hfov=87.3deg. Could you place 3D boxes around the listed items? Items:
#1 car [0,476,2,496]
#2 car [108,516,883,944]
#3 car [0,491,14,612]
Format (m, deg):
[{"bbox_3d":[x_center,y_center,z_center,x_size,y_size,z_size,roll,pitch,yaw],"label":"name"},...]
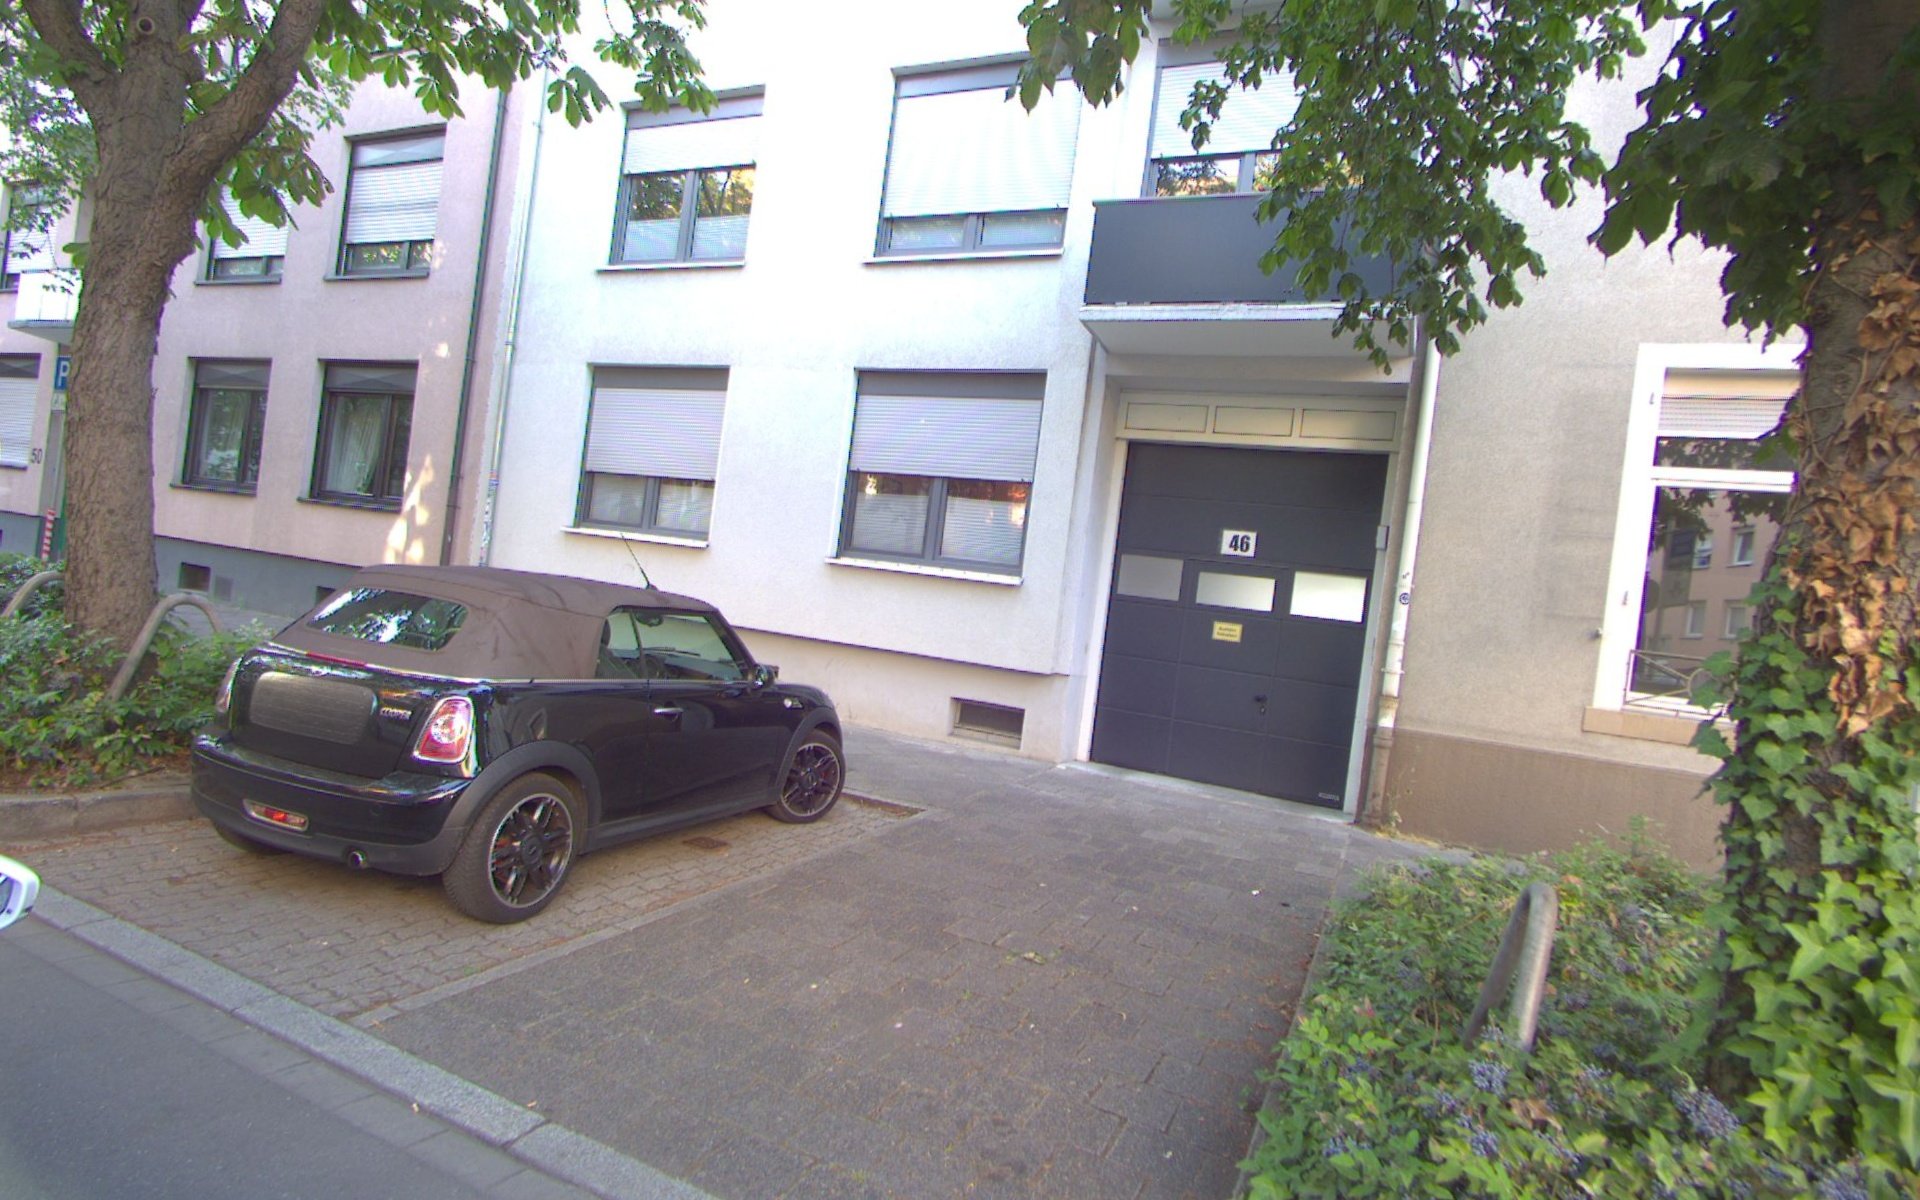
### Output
[{"bbox_3d":[-8.189,-0.340,5.035,4.729,1.497,1.779,8,-1,-42],"label":"car"},{"bbox_3d":[-2.027,0.546,5.528,1.634,1.380,3.622,7,-1,22],"label":"car"},{"bbox_3d":[-13.356,-0.811,11.043,1.634,1.494,3.921,7,-1,24],"label":"car"}]
